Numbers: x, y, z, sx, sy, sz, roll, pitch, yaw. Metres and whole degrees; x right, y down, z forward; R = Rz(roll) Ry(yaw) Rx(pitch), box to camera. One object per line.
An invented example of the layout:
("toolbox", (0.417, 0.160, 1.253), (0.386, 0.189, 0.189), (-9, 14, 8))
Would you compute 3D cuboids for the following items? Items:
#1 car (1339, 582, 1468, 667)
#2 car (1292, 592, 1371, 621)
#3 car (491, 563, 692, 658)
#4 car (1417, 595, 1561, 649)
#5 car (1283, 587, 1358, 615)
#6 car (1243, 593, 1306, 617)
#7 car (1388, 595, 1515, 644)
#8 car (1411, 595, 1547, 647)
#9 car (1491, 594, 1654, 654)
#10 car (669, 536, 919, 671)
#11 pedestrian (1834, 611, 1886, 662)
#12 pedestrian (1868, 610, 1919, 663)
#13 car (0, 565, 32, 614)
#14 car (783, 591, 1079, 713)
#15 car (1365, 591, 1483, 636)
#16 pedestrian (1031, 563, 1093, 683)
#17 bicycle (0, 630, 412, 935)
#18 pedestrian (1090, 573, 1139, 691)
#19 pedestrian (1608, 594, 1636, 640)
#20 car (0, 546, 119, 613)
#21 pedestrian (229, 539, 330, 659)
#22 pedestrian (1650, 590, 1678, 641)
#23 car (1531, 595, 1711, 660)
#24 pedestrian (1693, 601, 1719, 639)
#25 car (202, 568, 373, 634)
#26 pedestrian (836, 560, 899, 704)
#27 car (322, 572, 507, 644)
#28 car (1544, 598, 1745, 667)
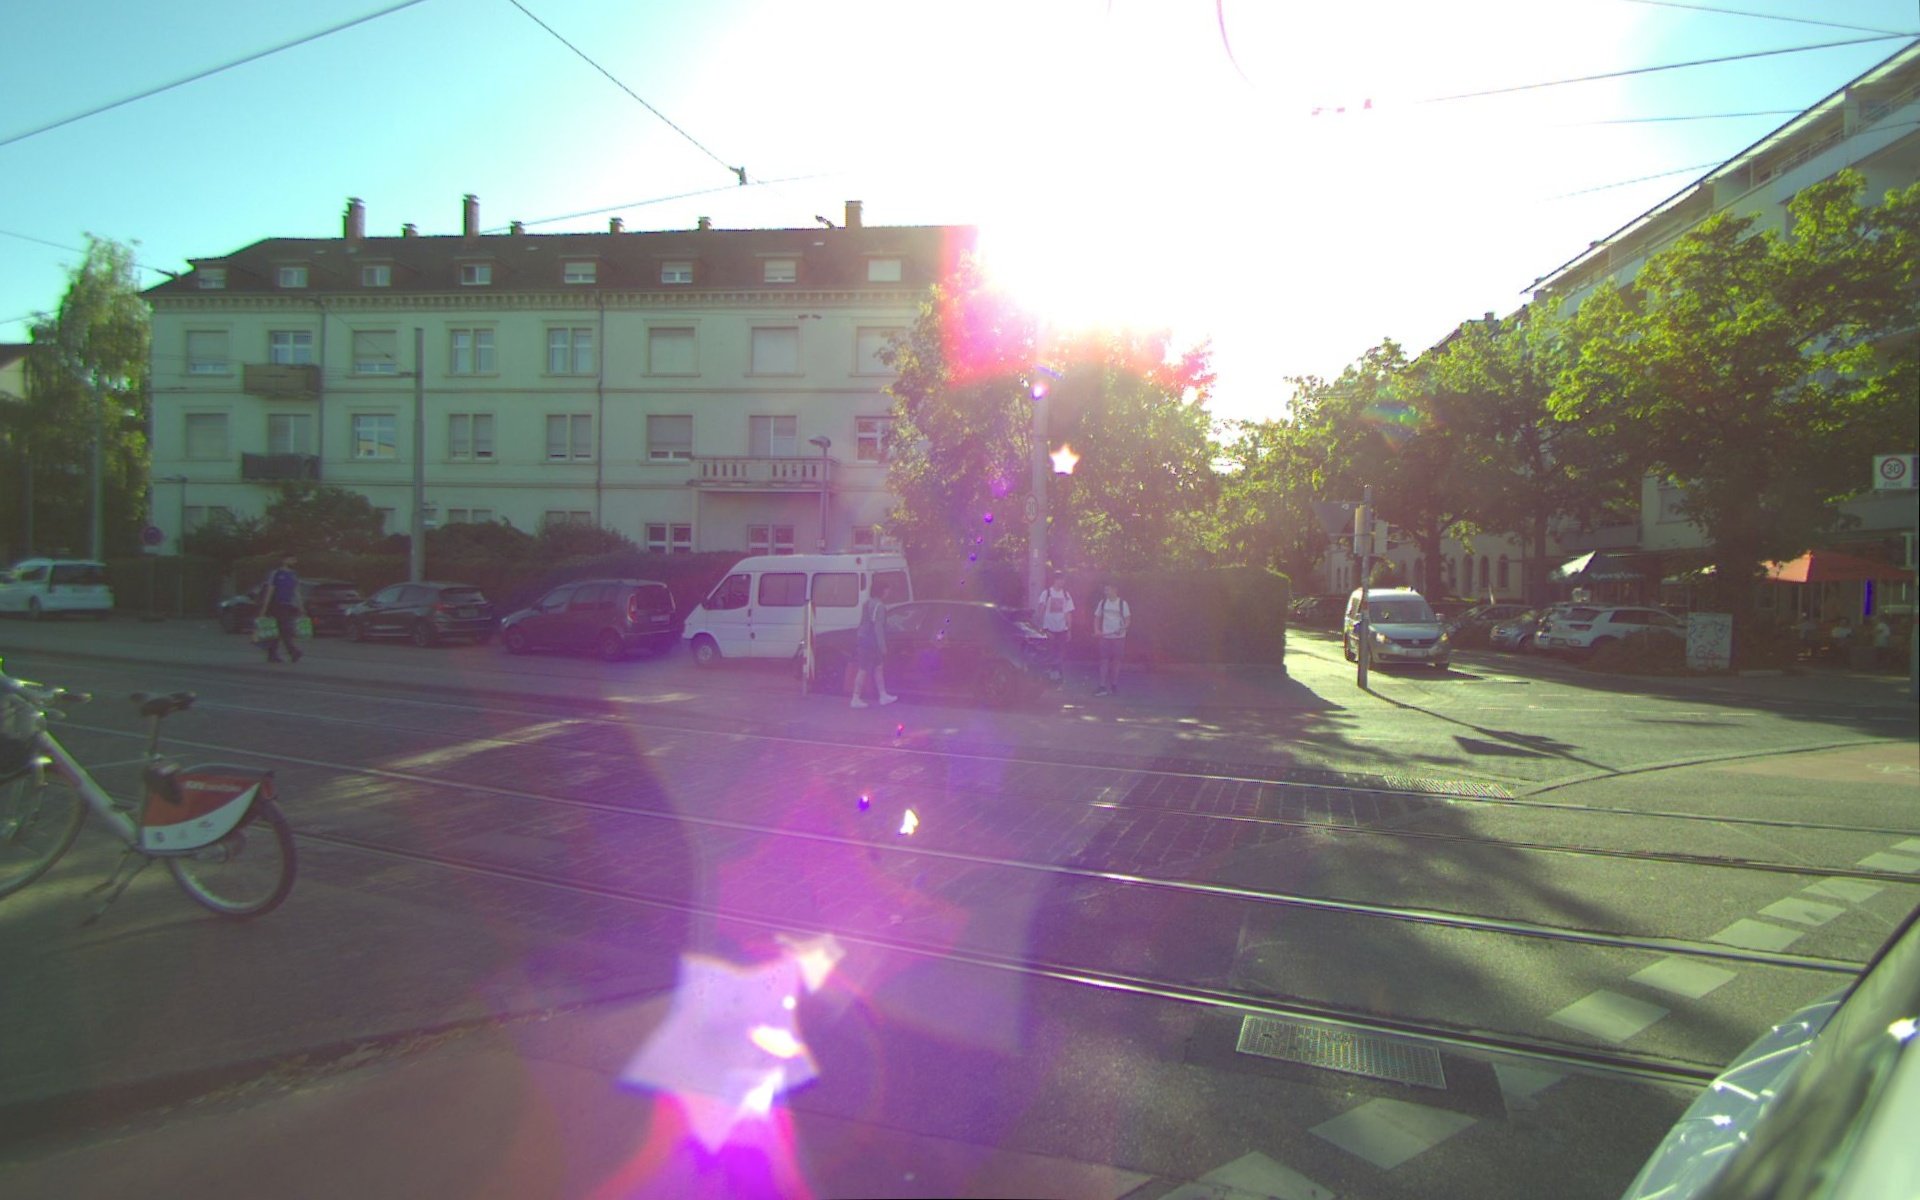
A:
("car", (10.509, 0.503, 24.288), (1.776, 1.836, 4.180), (-1, 1, 9))
("car", (21.060, 0.363, 57.441), (3.801, 1.499, 1.715), (2, 1, 3))
("car", (-7.807, 0.176, 21.443), (3.848, 1.785, 1.792), (2, 1, 24))
("car", (17.460, 0.701, 33.527), (3.801, 1.638, 1.715), (2, 1, 3))
("car", (21.337, 0.034, 60.036), (3.801, 1.499, 1.715), (2, 1, 3))
("car", (21.629, 0.351, 69.637), (3.801, 1.499, 1.715), (2, 1, 3))
("car", (18.226, 0.691, 37.645), (3.801, 1.638, 1.715), (2, 1, 3))
("car", (18.022, 0.695, 35.289), (3.801, 1.638, 1.715), (2, 1, 3))
("car", (18.470, 0.700, 30.671), (3.801, 1.638, 1.715), (2, 1, 3))
("car", (-3.139, 0.039, 19.159), (4.261, 2.306, 2.078), (1, -1, 25))
("pedestrian", (23.071, 0.926, 25.949), (0.649, 1.234, 0.739), (2, 0, 5))
("pedestrian", (22.931, 0.880, 24.824), (0.649, 1.234, 0.739), (2, 0, 5))
("car", (-32.955, -0.384, 33.641), (3.899, 1.560, 1.791), (2, 1, 25))
("car", (-0.414, 0.651, 14.658), (3.895, 1.459, 1.792), (2, 1, 23))
("car", (18.274, 0.518, 40.001), (3.801, 1.638, 1.715), (2, 1, 3))
("pedestrian", (1.645, 0.347, 16.323), (0.698, 1.869, 0.694), (2, 1, 40))
("bicycle", (-3.506, 0.716, 4.353), (1.848, 1.073, 0.827), (2, 1, 3))
("pedestrian", (2.441, 0.493, 16.048), (0.606, 1.814, 0.701), (1, 1, 0))
("pedestrian", (25.807, 0.656, 39.451), (0.711, 1.730, 0.537), (2, 0, 11))
("car", (-28.230, -0.657, 31.409), (3.899, 1.951, 1.791), (2, 1, 25))
("pedestrian", (-10.754, -0.035, 16.011), (0.986, 1.815, 0.953), (2, 1, 26))
("pedestrian", (25.984, 0.557, 37.356), (0.663, 1.834, 0.537), (2, 0, 11))
("car", (18.529, 0.733, 28.506), (3.833, 1.638, 1.715), (2, 1, 3))
("pedestrian", (27.425, 0.724, 37.212), (0.564, 1.377, 0.670), (2, 0, 18))
("car", (-17.217, -0.011, 25.914), (3.895, 1.495, 1.793), (2, 1, 23))
("pedestrian", (-1.144, 0.379, 12.447), (0.686, 1.714, 0.729), (1, 1, -9))
("car", (-12.808, 0.141, 23.783), (3.895, 1.495, 1.793), (2, 1, 23))
("car", (17.691, 0.808, 26.289), (3.962, 1.601, 1.709), (2, 1, 3))
